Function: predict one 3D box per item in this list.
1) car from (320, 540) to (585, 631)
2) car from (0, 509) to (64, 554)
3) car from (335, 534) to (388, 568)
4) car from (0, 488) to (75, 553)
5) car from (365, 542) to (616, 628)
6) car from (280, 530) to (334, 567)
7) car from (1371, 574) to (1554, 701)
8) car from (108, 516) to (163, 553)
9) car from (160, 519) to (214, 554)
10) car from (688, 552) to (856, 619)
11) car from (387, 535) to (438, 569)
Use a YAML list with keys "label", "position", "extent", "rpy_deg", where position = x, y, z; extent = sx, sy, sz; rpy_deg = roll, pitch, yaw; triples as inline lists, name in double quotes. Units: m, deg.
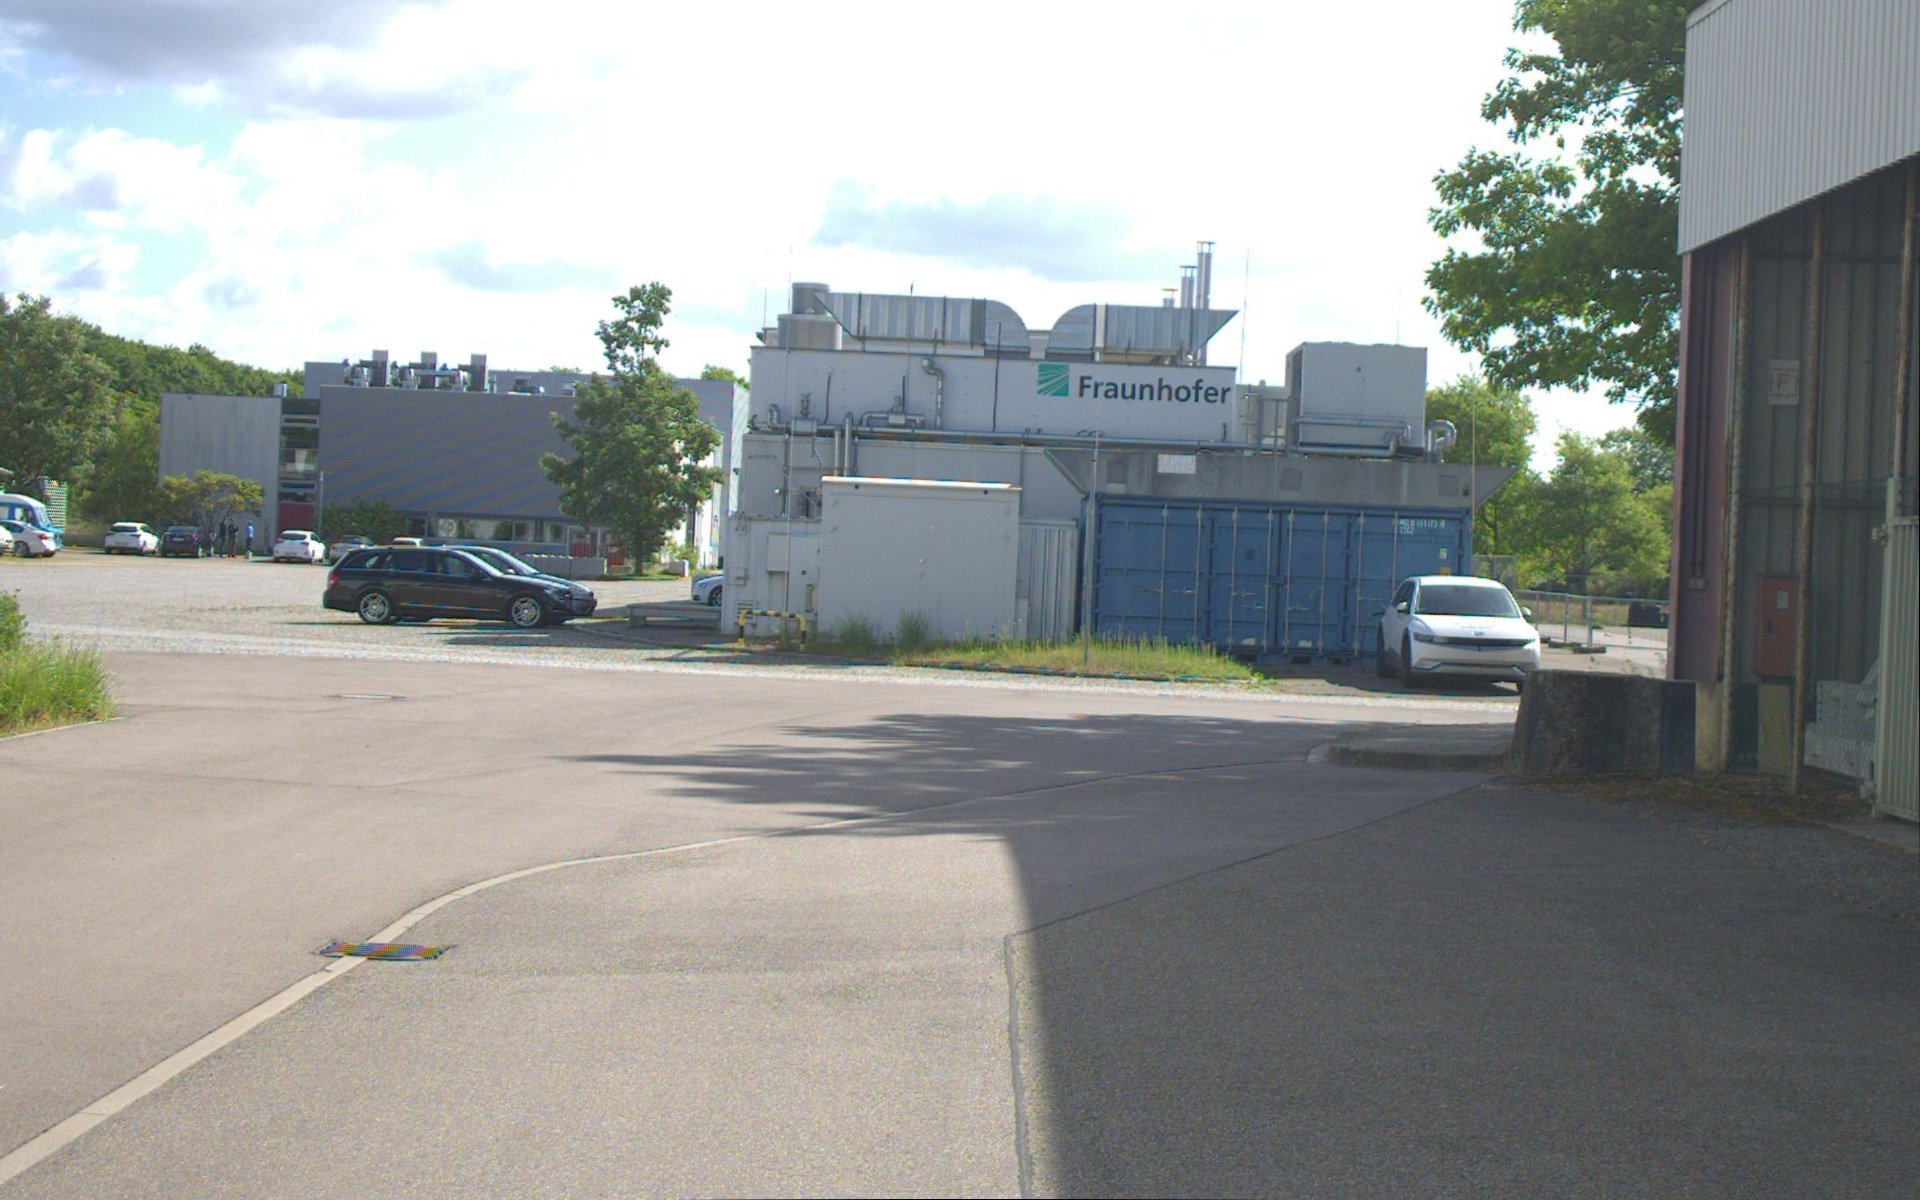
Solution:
- label: "car"
  position: [-9.312, -0.253, 63.349]
  extent: [4.529, 1.438, 1.987]
  rpy_deg: [2, -1, 1]
- label: "car"
  position: [-37.243, -2.715, 133.928]
  extent: [4.110, 1.625, 1.807]
  rpy_deg: [3, 0, 5]
- label: "car"
  position: [-27.879, -2.272, 160.294]
  extent: [1.877, 1.532, 4.036]
  rpy_deg: [1, 0, -2]
- label: "car"
  position: [-38.197, -3.232, 136.874]
  extent: [5.259, 2.433, 2.049]
  rpy_deg: [3, 0, 5]
- label: "car"
  position: [-9.068, -0.276, 66.605]
  extent: [4.529, 1.438, 1.904]
  rpy_deg: [2, -1, 1]
- label: "car"
  position: [-30.444, -2.388, 160.465]
  extent: [1.877, 1.684, 4.036]
  rpy_deg: [1, 0, -2]
- label: "car"
  position: [7.343, 0.511, 50.622]
  extent: [1.981, 1.588, 4.341]
  rpy_deg: [3, 2, 0]
- label: "car"
  position: [-38.458, -3.048, 160.397]
  extent: [1.846, 1.663, 4.134]
  rpy_deg: [1, 0, -5]
- label: "car"
  position: [-36.005, -2.945, 160.260]
  extent: [1.877, 1.532, 4.036]
  rpy_deg: [1, 0, -5]
- label: "car"
  position: [-4.950, -0.377, 91.062]
  extent: [4.279, 1.564, 1.987]
  rpy_deg: [2, -1, 1]
- label: "car"
  position: [-25.550, -2.237, 160.498]
  extent: [1.877, 1.532, 4.036]
  rpy_deg: [1, 0, -2]
